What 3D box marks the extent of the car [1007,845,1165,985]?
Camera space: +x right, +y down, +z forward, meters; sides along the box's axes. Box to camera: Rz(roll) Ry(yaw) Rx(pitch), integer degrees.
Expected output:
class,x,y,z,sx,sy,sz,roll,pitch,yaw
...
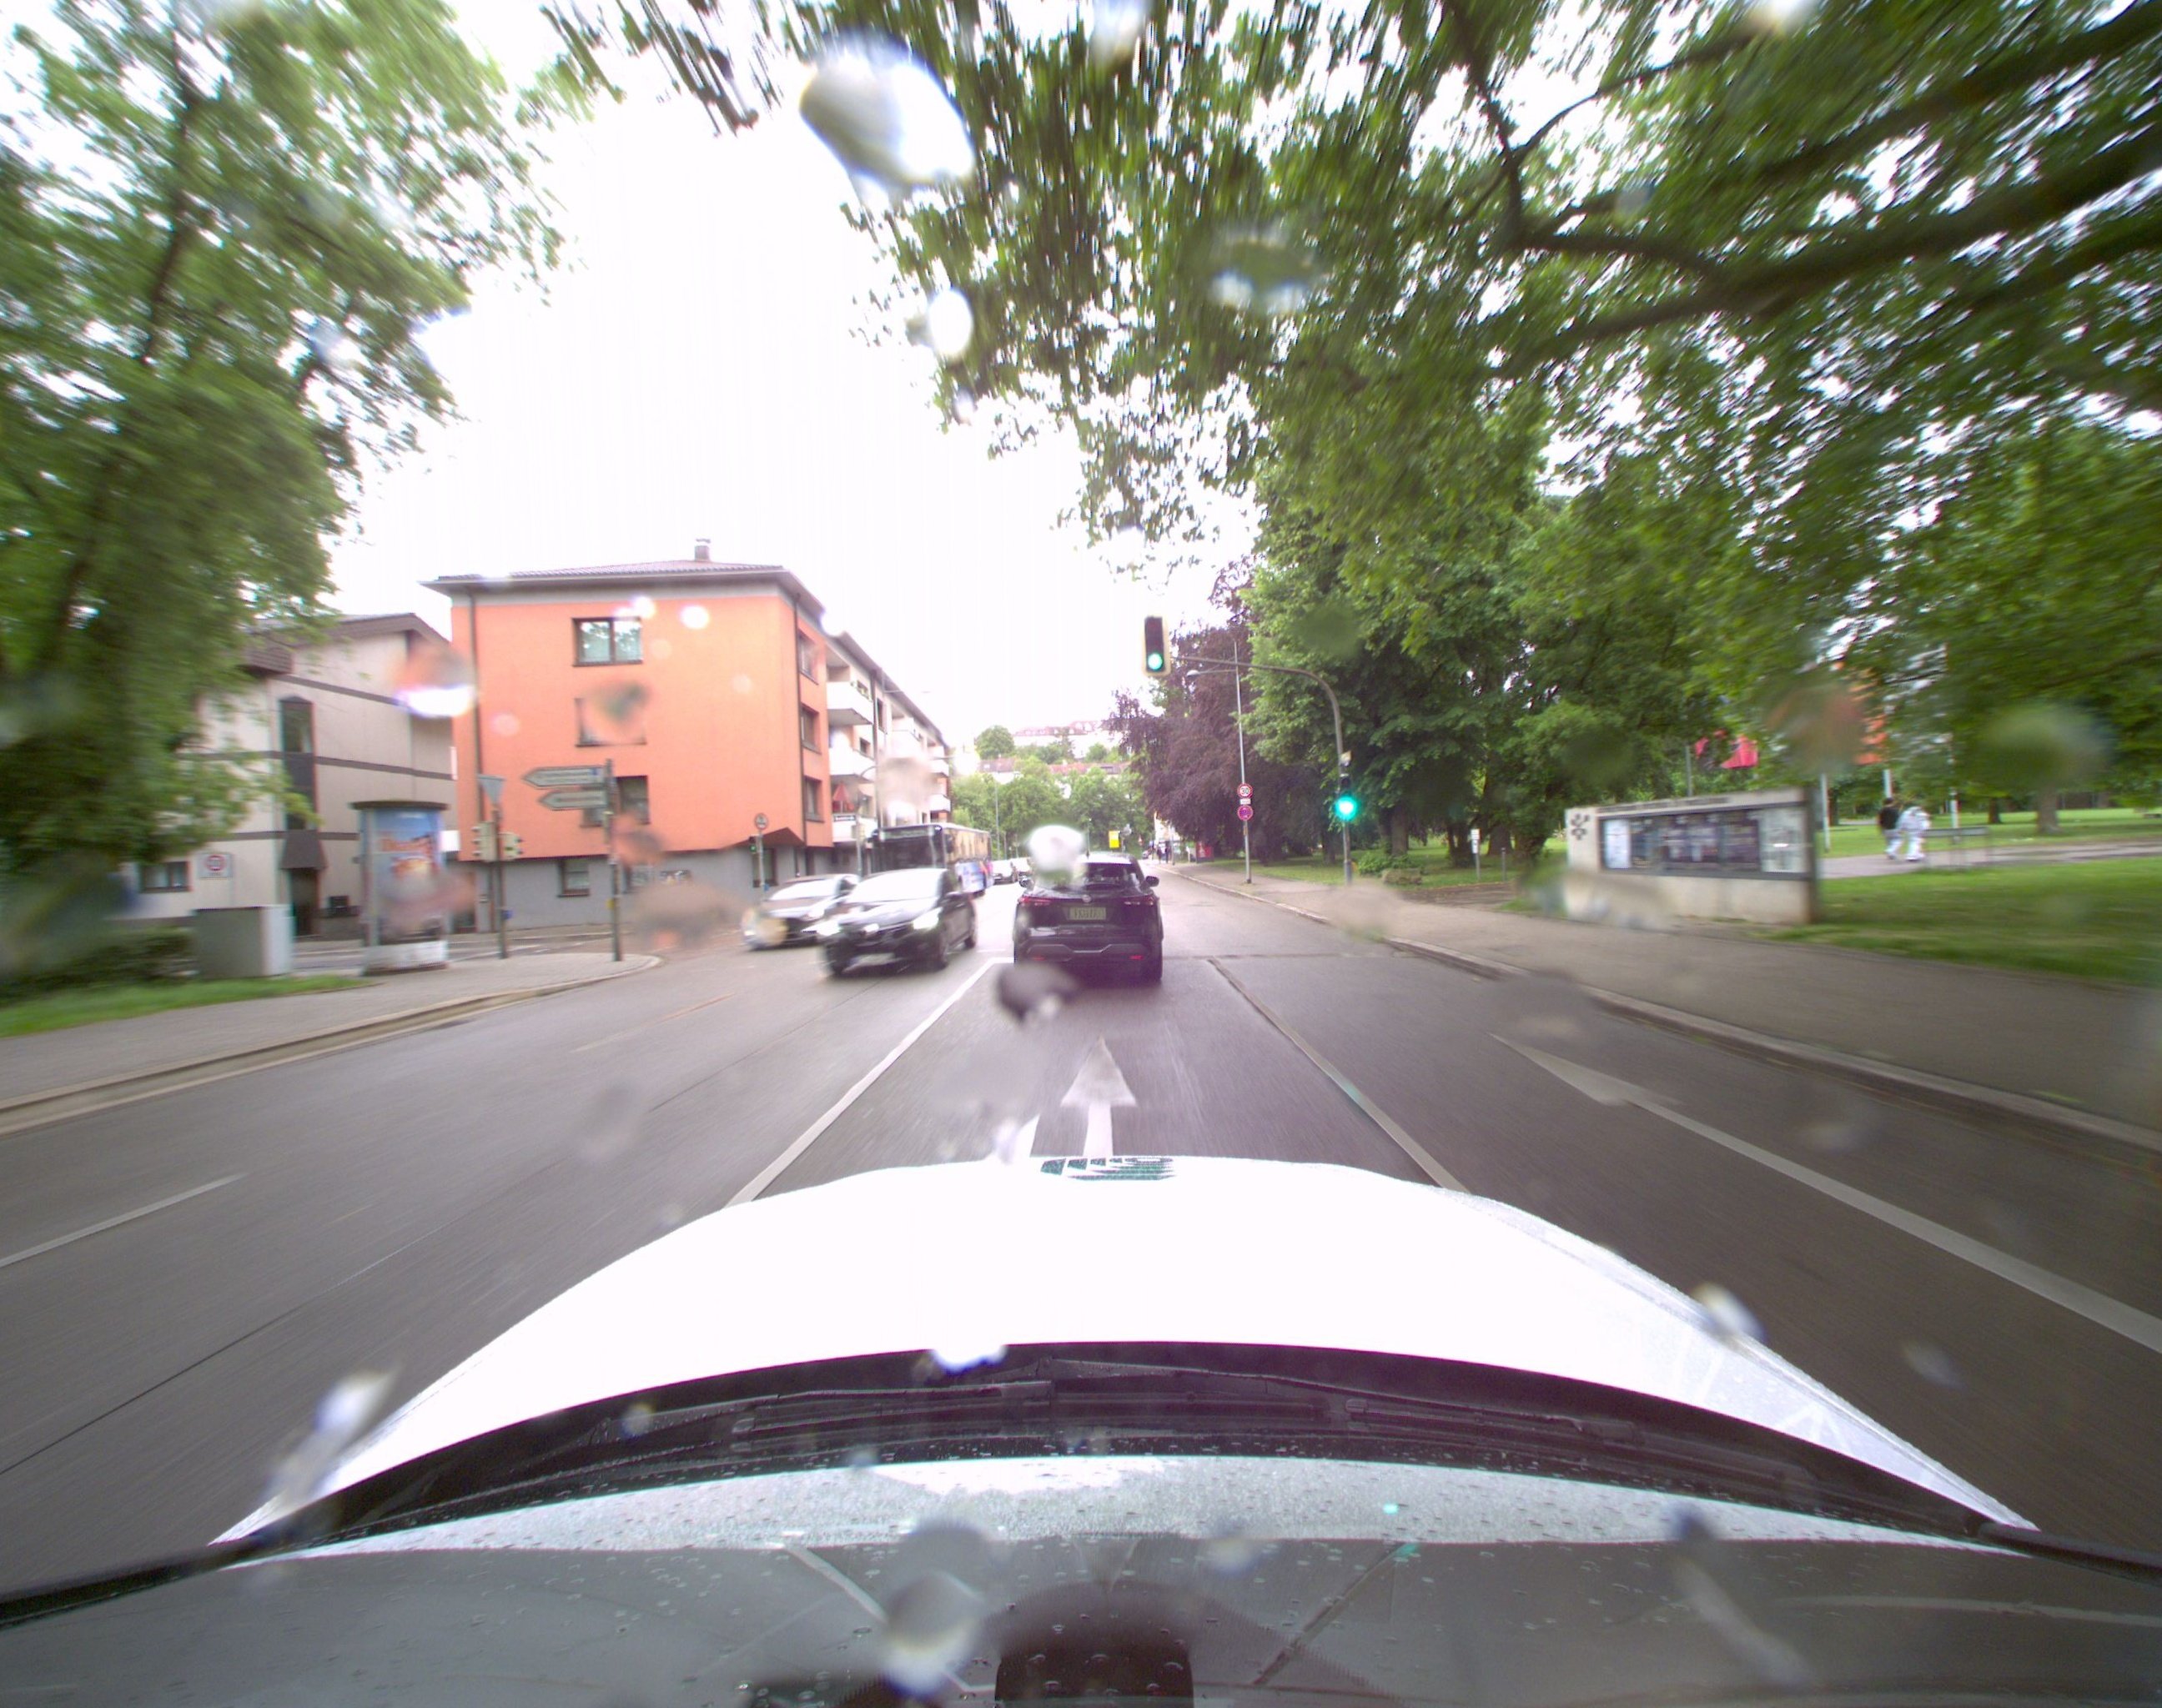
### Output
class,x,y,z,sx,sy,sz,roll,pitch,yaw
car,0.101,0.727,11.359,1.800,1.590,4.001,-1,-1,1

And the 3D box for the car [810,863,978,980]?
class,x,y,z,sx,sy,sz,roll,pitch,yaw
car,-2.716,0.922,12.608,1.618,1.415,3.456,-4,0,2

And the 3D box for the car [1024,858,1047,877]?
class,x,y,z,sx,sy,sz,roll,pitch,yaw
car,-3.984,1.153,71.904,1.671,1.469,4.216,-4,0,0

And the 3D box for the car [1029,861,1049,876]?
class,x,y,z,sx,sy,sz,roll,pitch,yaw
car,-4.139,1.439,80.926,1.671,1.296,3.751,-4,0,0

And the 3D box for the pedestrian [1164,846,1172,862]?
class,x,y,z,sx,sy,sz,roll,pitch,yaw
pedestrian,9.159,0.031,85.727,0.696,1.651,0.628,-1,-1,2

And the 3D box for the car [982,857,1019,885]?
class,x,y,z,sx,sy,sz,roll,pitch,yaw
car,-4.930,1.015,50.517,1.770,1.469,4.216,-4,0,0

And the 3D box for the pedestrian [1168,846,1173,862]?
class,x,y,z,sx,sy,sz,roll,pitch,yaw
pedestrian,9.224,-0.020,84.063,0.513,1.655,0.550,-1,-1,1

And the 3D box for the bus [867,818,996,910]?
class,x,y,z,sx,sy,sz,roll,pitch,yaw
bus,-5.688,0.356,33.533,2.756,2.974,11.784,-3,0,1

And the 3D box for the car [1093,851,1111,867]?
class,x,y,z,sx,sy,sz,roll,pitch,yaw
car,2.001,0.461,77.970,1.618,1.415,3.456,-4,0,2

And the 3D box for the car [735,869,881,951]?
class,x,y,z,sx,sy,sz,roll,pitch,yaw
car,-5.941,1.154,18.275,1.803,1.417,4.030,-4,0,0

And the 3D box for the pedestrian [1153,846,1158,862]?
class,x,y,z,sx,sy,sz,roll,pitch,yaw
pedestrian,7.809,0.043,85.473,0.473,1.651,0.490,-1,-1,2

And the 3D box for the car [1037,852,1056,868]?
class,x,y,z,sx,sy,sz,roll,pitch,yaw
car,-3.901,0.649,92.724,1.744,1.633,3.636,-4,0,2

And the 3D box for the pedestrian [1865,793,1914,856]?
class,x,y,z,sx,sy,sz,roll,pitch,yaw
pedestrian,23.268,-0.841,23.444,0.663,1.756,0.722,0,-1,-7

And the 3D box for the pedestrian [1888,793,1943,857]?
class,x,y,z,sx,sy,sz,roll,pitch,yaw
pedestrian,22.956,-0.781,22.407,0.663,1.712,0.788,0,-1,-7

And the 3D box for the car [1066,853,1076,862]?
class,x,y,z,sx,sy,sz,roll,pitch,yaw
car,-1.798,0.634,152.162,1.713,1.468,3.684,-4,0,-1

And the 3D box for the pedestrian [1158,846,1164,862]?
class,x,y,z,sx,sy,sz,roll,pitch,yaw
pedestrian,8.377,0.037,85.484,0.542,1.651,0.490,-1,-1,2

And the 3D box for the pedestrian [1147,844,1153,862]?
class,x,y,z,sx,sy,sz,roll,pitch,yaw
pedestrian,8.195,-0.123,96.612,0.765,2.183,0.712,-1,-1,4

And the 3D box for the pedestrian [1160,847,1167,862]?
class,x,y,z,sx,sy,sz,roll,pitch,yaw
pedestrian,9.973,0.069,98.476,0.616,1.779,0.778,-4,0,1

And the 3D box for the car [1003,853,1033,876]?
class,x,y,z,sx,sy,sz,roll,pitch,yaw
car,-4.637,0.738,60.117,1.741,1.469,4.216,-4,0,0

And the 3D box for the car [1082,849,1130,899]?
class,x,y,z,sx,sy,sz,roll,pitch,yaw
car,1.007,0.716,31.105,1.615,1.709,3.773,-4,0,3

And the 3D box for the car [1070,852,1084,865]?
class,x,y,z,sx,sy,sz,roll,pitch,yaw
car,-0.551,0.664,120.621,1.757,1.758,3.636,-4,0,2
